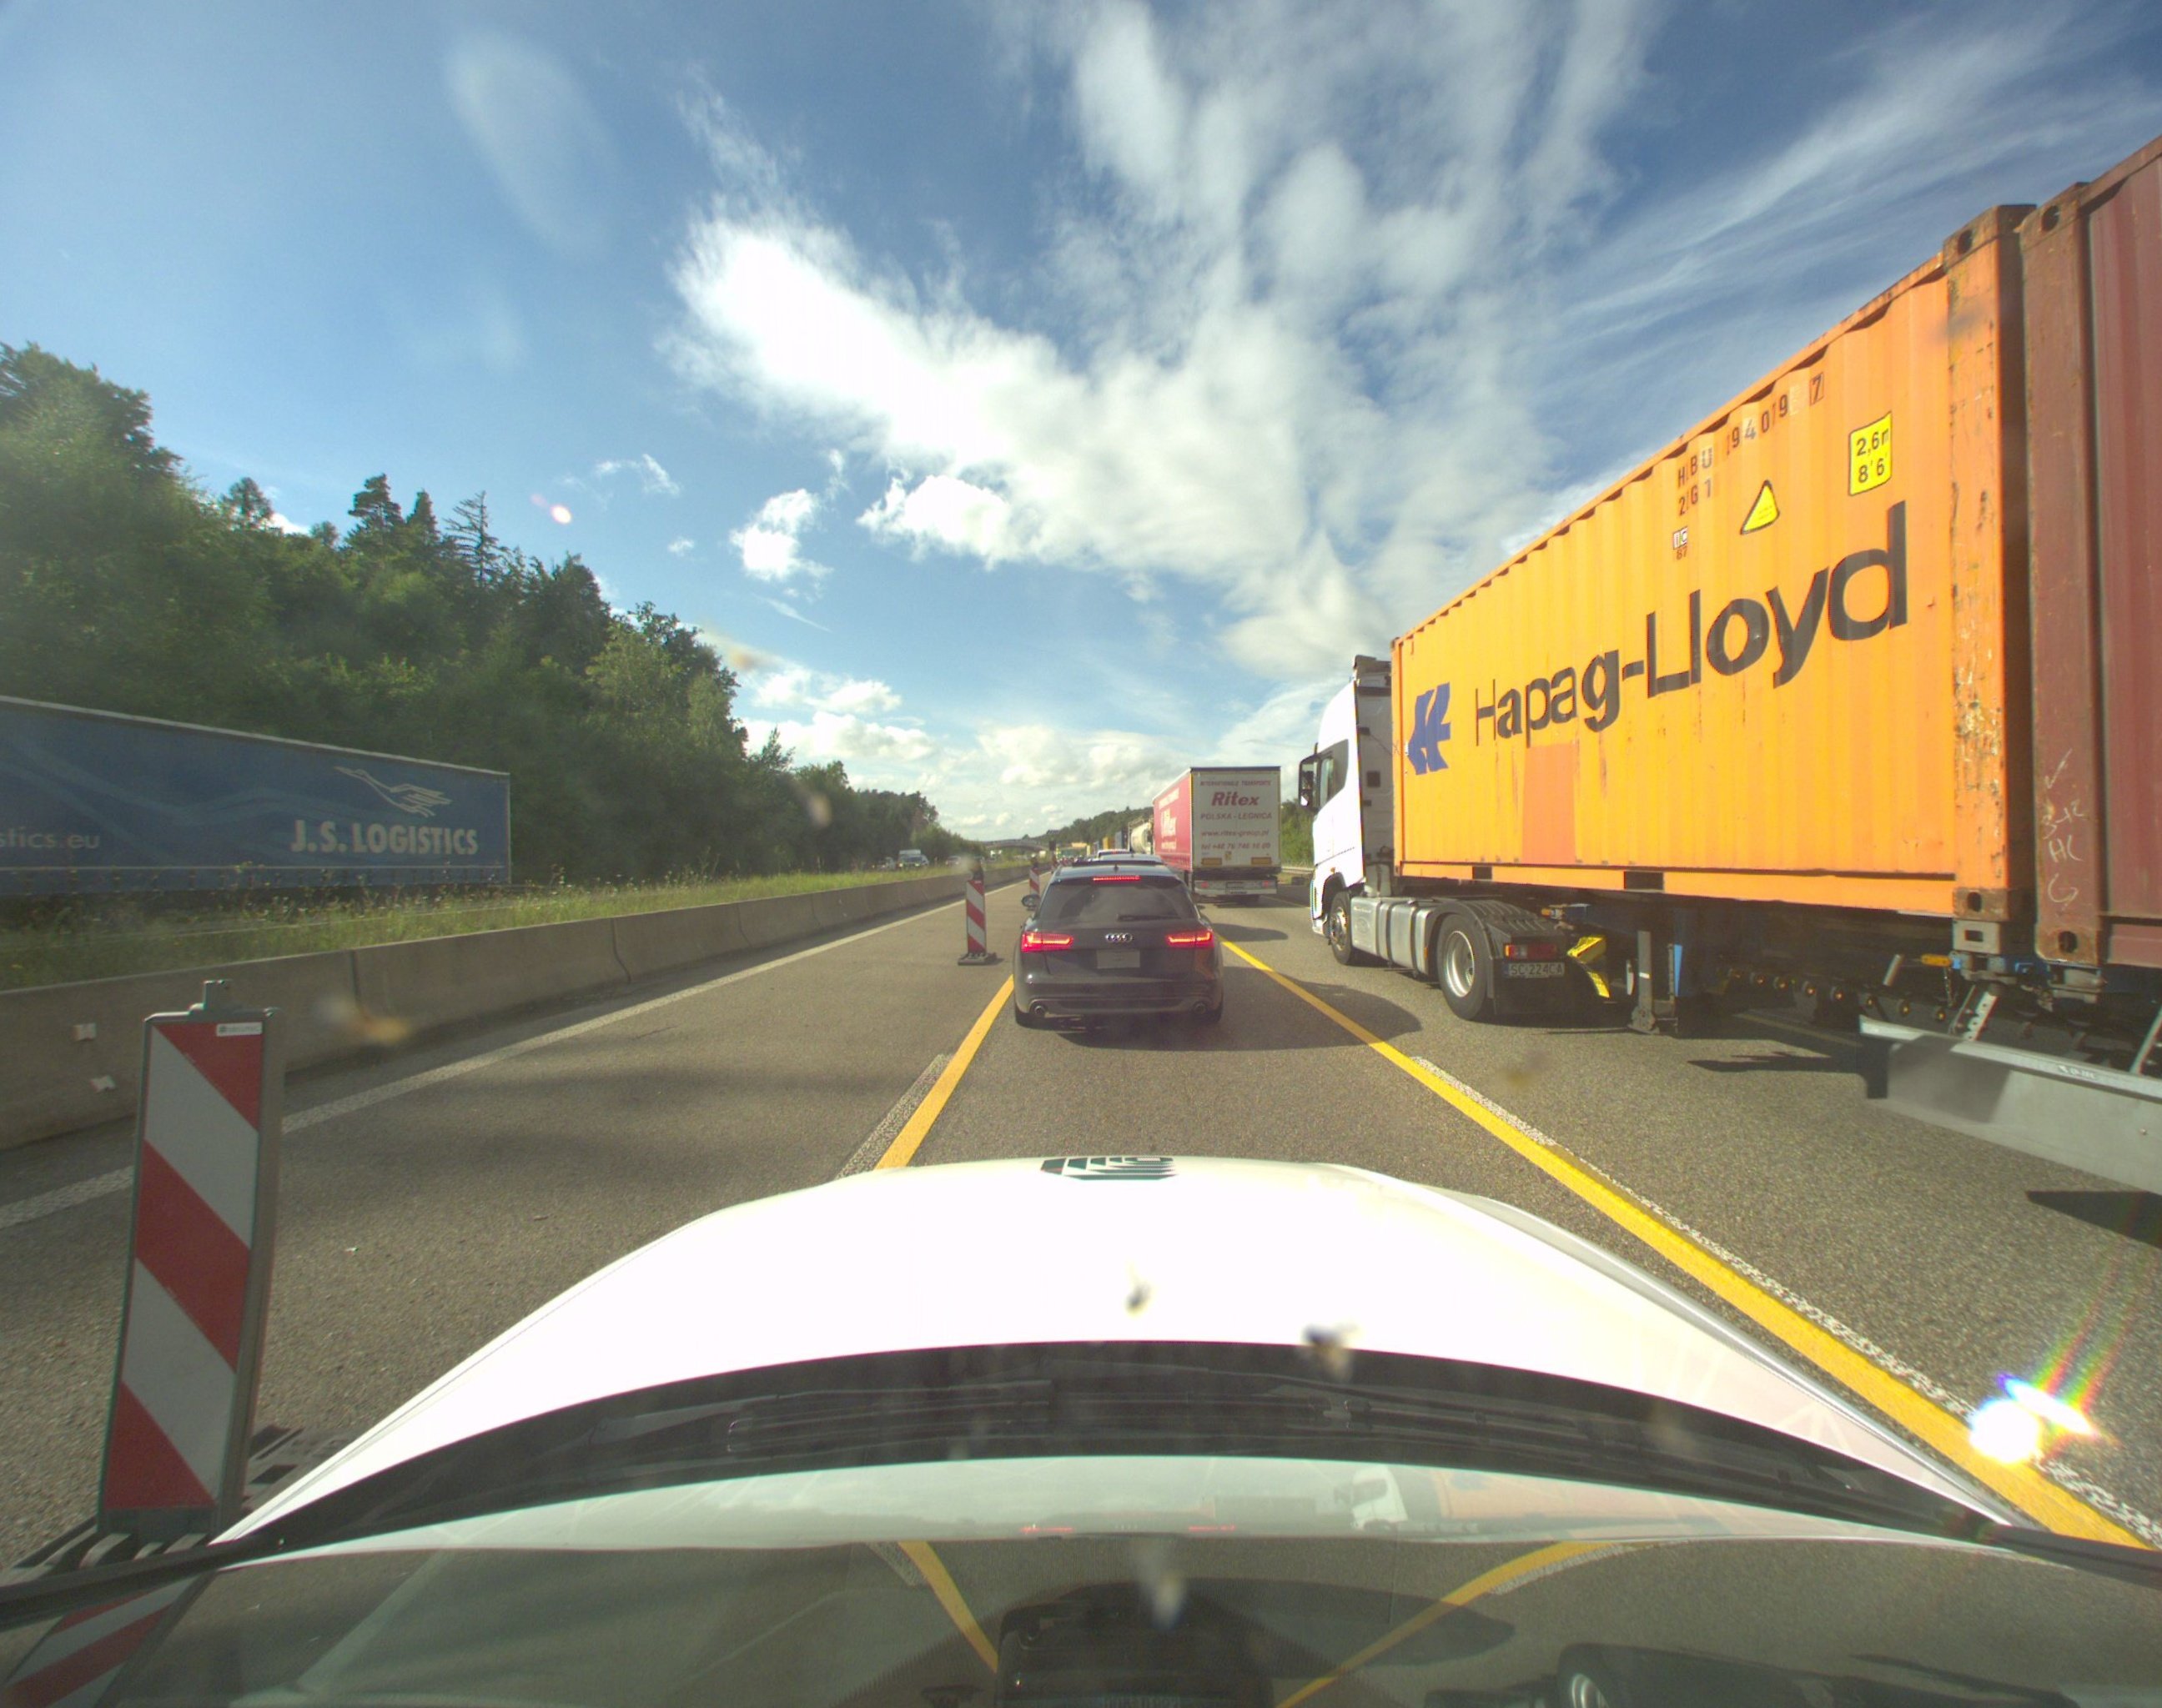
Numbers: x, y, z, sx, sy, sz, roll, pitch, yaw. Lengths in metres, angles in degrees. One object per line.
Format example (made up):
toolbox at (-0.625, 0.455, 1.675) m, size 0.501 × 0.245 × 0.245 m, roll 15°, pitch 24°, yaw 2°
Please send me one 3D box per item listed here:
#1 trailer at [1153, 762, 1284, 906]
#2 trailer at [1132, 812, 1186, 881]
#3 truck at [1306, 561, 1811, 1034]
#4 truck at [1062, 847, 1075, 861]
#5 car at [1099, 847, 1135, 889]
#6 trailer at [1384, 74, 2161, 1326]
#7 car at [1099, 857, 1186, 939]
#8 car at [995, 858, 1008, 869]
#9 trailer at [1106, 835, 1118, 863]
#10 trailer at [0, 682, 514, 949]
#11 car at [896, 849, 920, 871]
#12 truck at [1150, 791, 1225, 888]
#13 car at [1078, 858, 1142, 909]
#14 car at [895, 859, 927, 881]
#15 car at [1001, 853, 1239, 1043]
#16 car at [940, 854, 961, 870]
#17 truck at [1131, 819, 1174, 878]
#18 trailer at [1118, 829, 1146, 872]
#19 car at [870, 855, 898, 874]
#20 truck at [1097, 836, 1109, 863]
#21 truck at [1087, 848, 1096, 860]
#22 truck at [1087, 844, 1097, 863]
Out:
trailer at (4.425, -0.547, 29.384) m, size 2.690 × 3.969 × 13.420 m, roll -1°, pitch 0°, yaw 1°
trailer at (4.864, -0.394, 52.810) m, size 2.634 × 3.943 × 12.602 m, roll 0°, pitch 0°, yaw 2°
truck at (4.631, -0.445, 9.434) m, size 2.486 × 3.780 × 5.790 m, roll -1°, pitch 0°, yaw 1°
truck at (-3.890, 0.103, 250.689) m, size 3.299 × 4.175 × 9.684 m, roll -2°, pitch -1°, yaw -5°
car at (1.625, 0.633, 37.557) m, size 1.575 × 1.837 × 3.113 m, roll 0°, pitch -1°, yaw 2°
trailer at (4.505, -0.466, 2.951) m, size 2.463 × 3.775 × 12.137 m, roll -1°, pitch 0°, yaw 1°
car at (1.132, 0.790, 15.927) m, size 1.518 × 1.439 × 3.286 m, roll 0°, pitch -1°, yaw 2°
car at (-12.282, 1.437, 125.819) m, size 1.477 × 1.653 × 3.235 m, roll 0°, pitch -1°, yaw 2°
trailer at (4.392, -0.621, 116.230) m, size 1.611 × 3.918 × 6.490 m, roll 0°, pitch -1°, yaw 1°
trailer at (-17.923, -0.584, 16.885) m, size 2.610 × 4.141 × 13.378 m, roll -1°, pitch 0°, yaw 2°
car at (-20.830, 0.742, 98.124) m, size 2.247 × 2.643 × 5.009 m, roll 0°, pitch -1°, yaw -6°
truck at (4.584, -0.590, 36.029) m, size 2.658 × 3.959 × 5.711 m, roll -1°, pitch 0°, yaw 1°
car at (0.850, 0.823, 24.140) m, size 1.745 × 1.397 × 3.609 m, roll 0°, pitch -1°, yaw 2°
car at (-13.574, 1.280, 65.307) m, size 1.709 × 1.706 × 3.524 m, roll 0°, pitch -1°, yaw 2°
car at (0.368, 0.761, 8.387) m, size 1.842 × 1.463 × 4.001 m, roll -1°, pitch -1°, yaw 2°
car at (-17.083, 0.992, 106.613) m, size 1.986 × 2.013 × 4.002 m, roll -1°, pitch 0°, yaw 2°
truck at (5.011, -0.354, 57.924) m, size 2.649 × 3.972 × 5.780 m, roll 0°, pitch -1°, yaw 2°
trailer at (5.514, -0.316, 89.360) m, size 2.795 × 4.413 × 10.436 m, roll 0°, pitch -1°, yaw 2°
car at (-21.338, 1.170, 88.264) m, size 1.986 × 2.014 × 4.001 m, roll 0°, pitch -1°, yaw 2°
truck at (3.936, -0.796, 149.863) m, size 1.987 × 4.914 × 9.562 m, roll -1°, pitch 0°, yaw 0°
truck at (3.239, -0.047, 249.663) m, size 2.558 × 3.466 × 7.398 m, roll 0°, pitch -1°, yaw 0°
truck at (2.590, -0.151, 183.542) m, size 2.130 × 4.257 × 7.073 m, roll -1°, pitch 0°, yaw 1°
